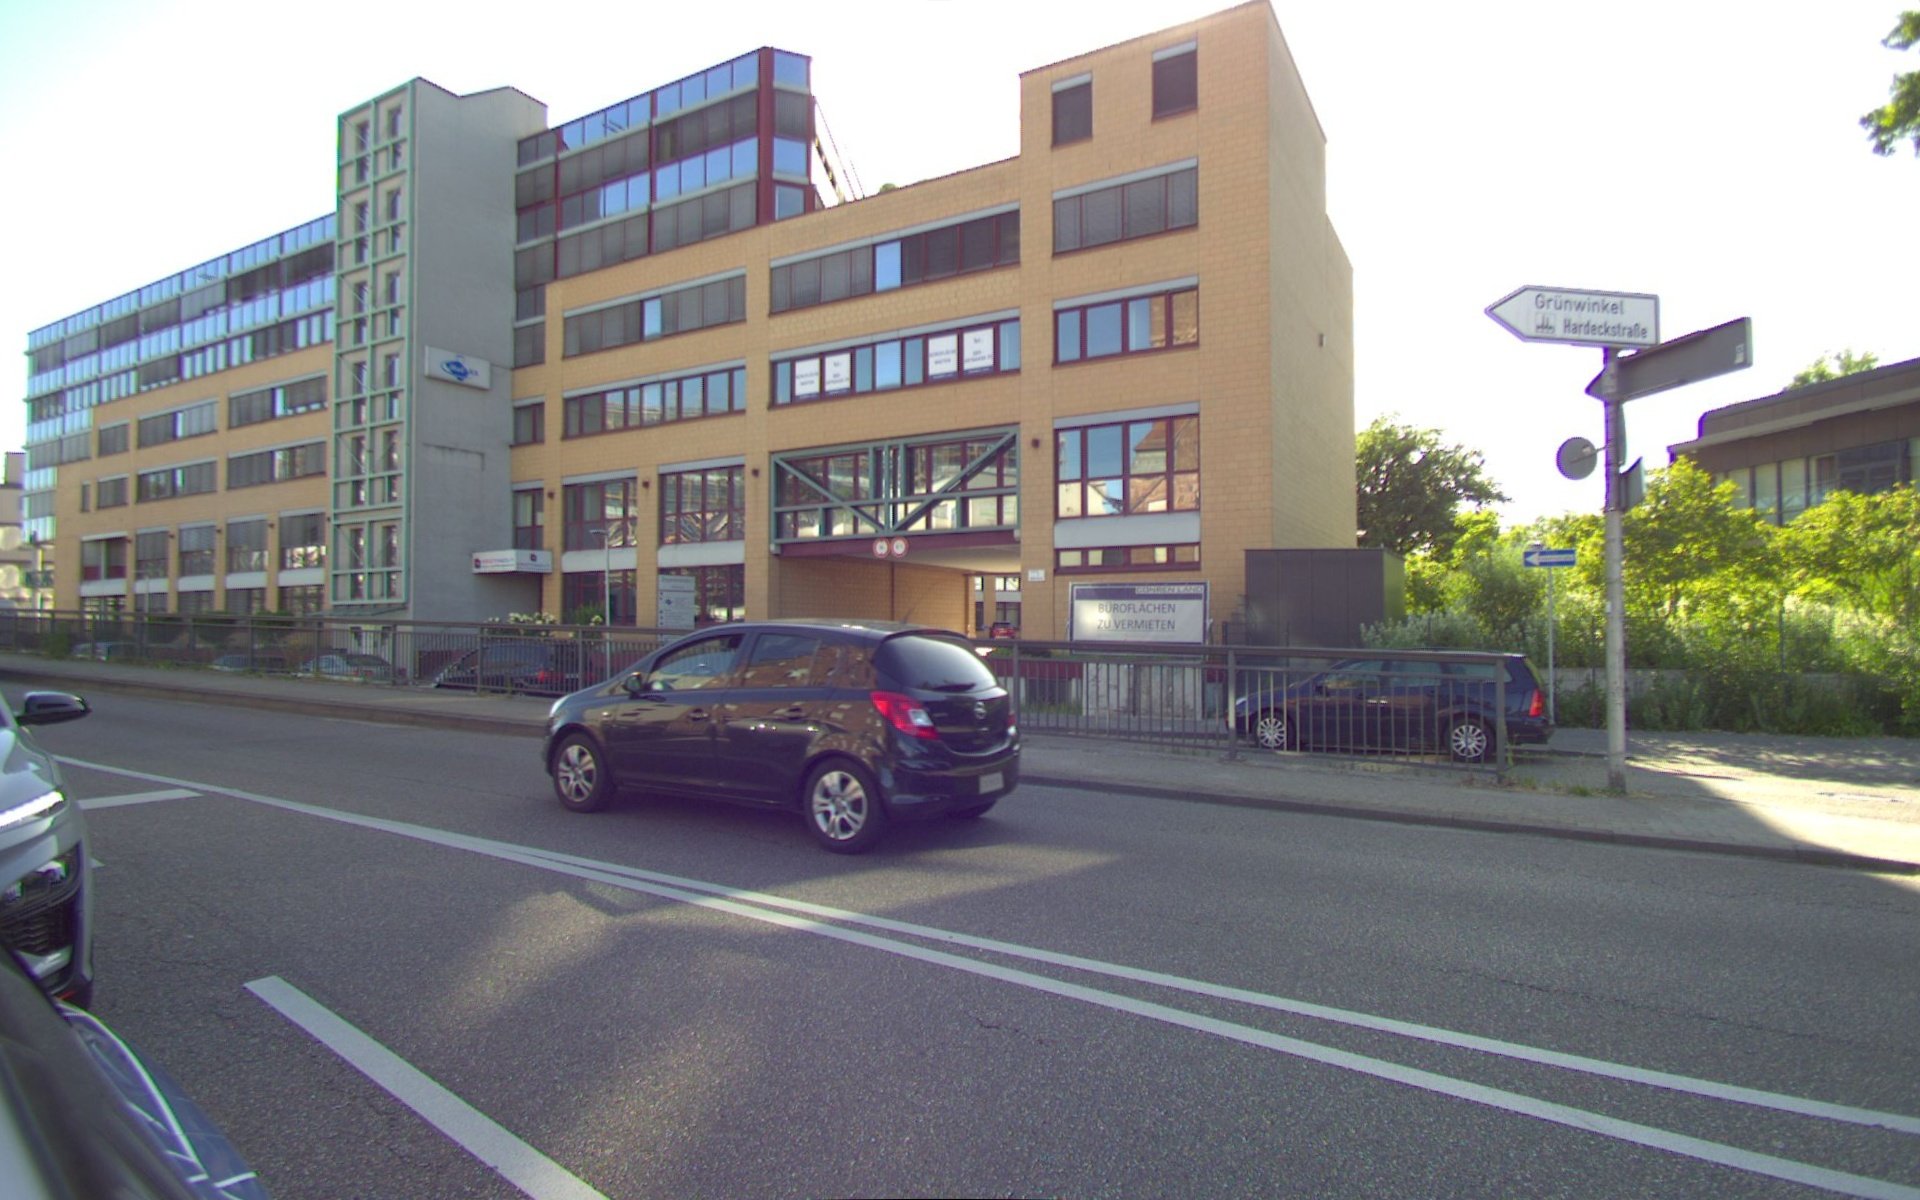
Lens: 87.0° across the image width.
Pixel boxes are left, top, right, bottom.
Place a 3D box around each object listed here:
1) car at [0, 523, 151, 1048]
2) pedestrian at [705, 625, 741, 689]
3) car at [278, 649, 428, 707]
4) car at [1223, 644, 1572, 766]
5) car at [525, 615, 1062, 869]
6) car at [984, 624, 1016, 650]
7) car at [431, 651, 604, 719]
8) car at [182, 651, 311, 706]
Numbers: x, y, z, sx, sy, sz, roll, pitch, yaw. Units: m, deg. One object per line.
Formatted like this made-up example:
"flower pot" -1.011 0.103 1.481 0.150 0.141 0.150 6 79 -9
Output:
"car" -4.922 0.618 4.159 4.196 1.634 1.854 -2 -3 42
"pedestrian" -7.138 1.711 30.490 0.703 1.865 0.738 -2 -1 35
"car" -17.372 2.190 28.938 4.143 1.535 1.862 -2 -3 29
"car" 6.204 1.468 14.591 4.367 1.520 1.640 -3 -5 34
"car" -1.310 0.848 7.430 3.809 1.418 1.556 0 -2 32
"car" 2.607 2.453 67.285 1.742 1.532 4.003 -1 0 -3
"car" -10.875 2.033 24.829 4.139 1.535 1.624 -2 -3 27
"car" -22.175 2.378 31.427 3.986 1.576 1.865 -2 -3 32
